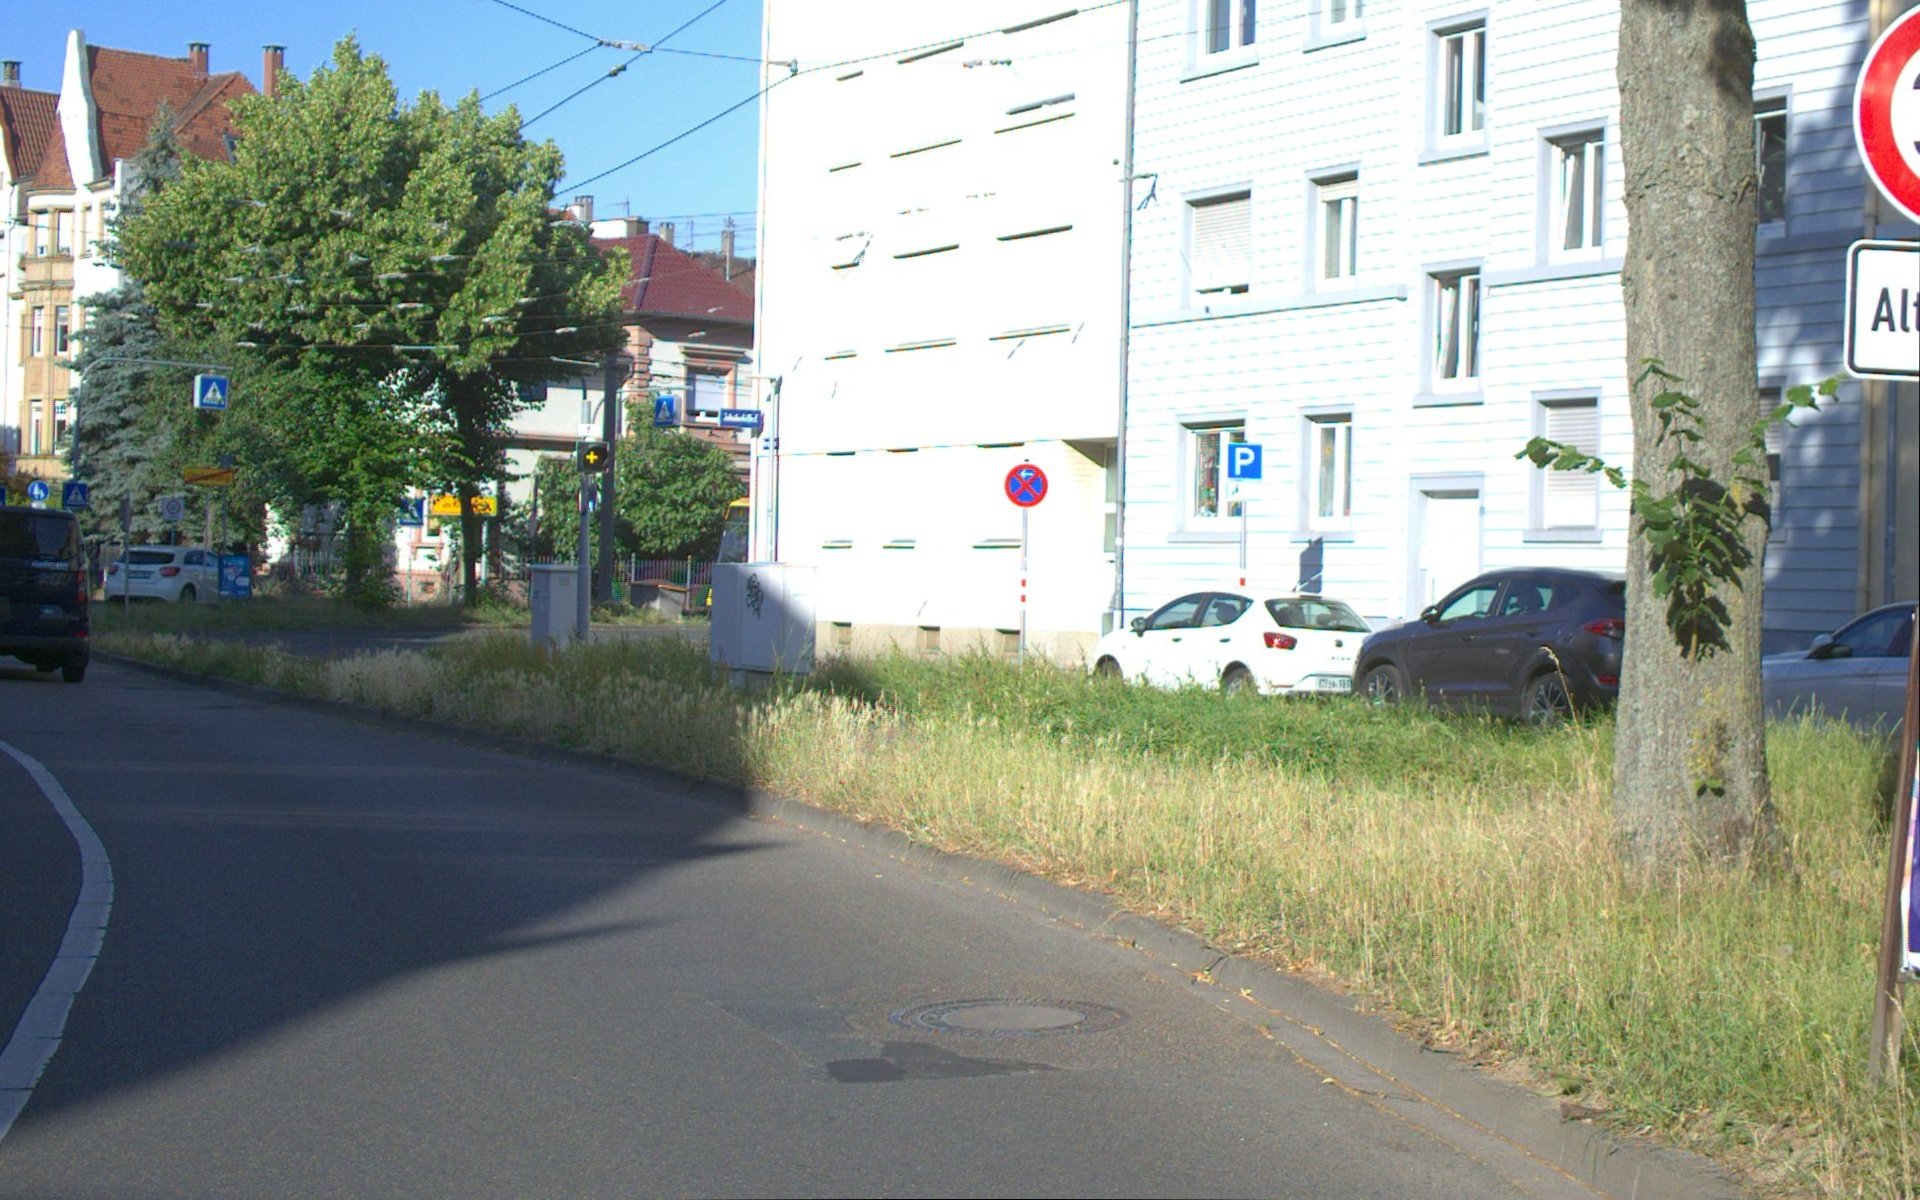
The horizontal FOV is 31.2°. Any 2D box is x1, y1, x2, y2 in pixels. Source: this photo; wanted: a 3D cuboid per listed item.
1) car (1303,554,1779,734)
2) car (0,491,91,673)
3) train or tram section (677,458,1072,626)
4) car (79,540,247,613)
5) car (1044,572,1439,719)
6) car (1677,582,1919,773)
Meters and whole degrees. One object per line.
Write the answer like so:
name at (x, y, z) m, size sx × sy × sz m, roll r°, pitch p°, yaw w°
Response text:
car at (5.361, 0.356, 32.364) m, size 1.993 × 1.567 × 4.642 m, roll 0°, pitch 1°, yaw -28°
car at (-11.326, -0.262, 40.376) m, size 1.993 × 2.007 × 4.001 m, roll 2°, pitch 1°, yaw -16°
train or tram section at (-1.757, -1.243, 77.150) m, size 2.782 × 3.543 × 9.895 m, roll 2°, pitch 1°, yaw 42°
car at (-16.969, -0.517, 73.367) m, size 1.960 × 1.500 × 3.682 m, roll 0°, pitch 1°, yaw 16°
car at (2.952, 0.442, 37.046) m, size 1.993 × 1.381 × 4.447 m, roll 0°, pitch 2°, yaw -31°
car at (7.938, 0.611, 27.280) m, size 1.993 × 1.381 × 4.447 m, roll 0°, pitch 2°, yaw -28°
